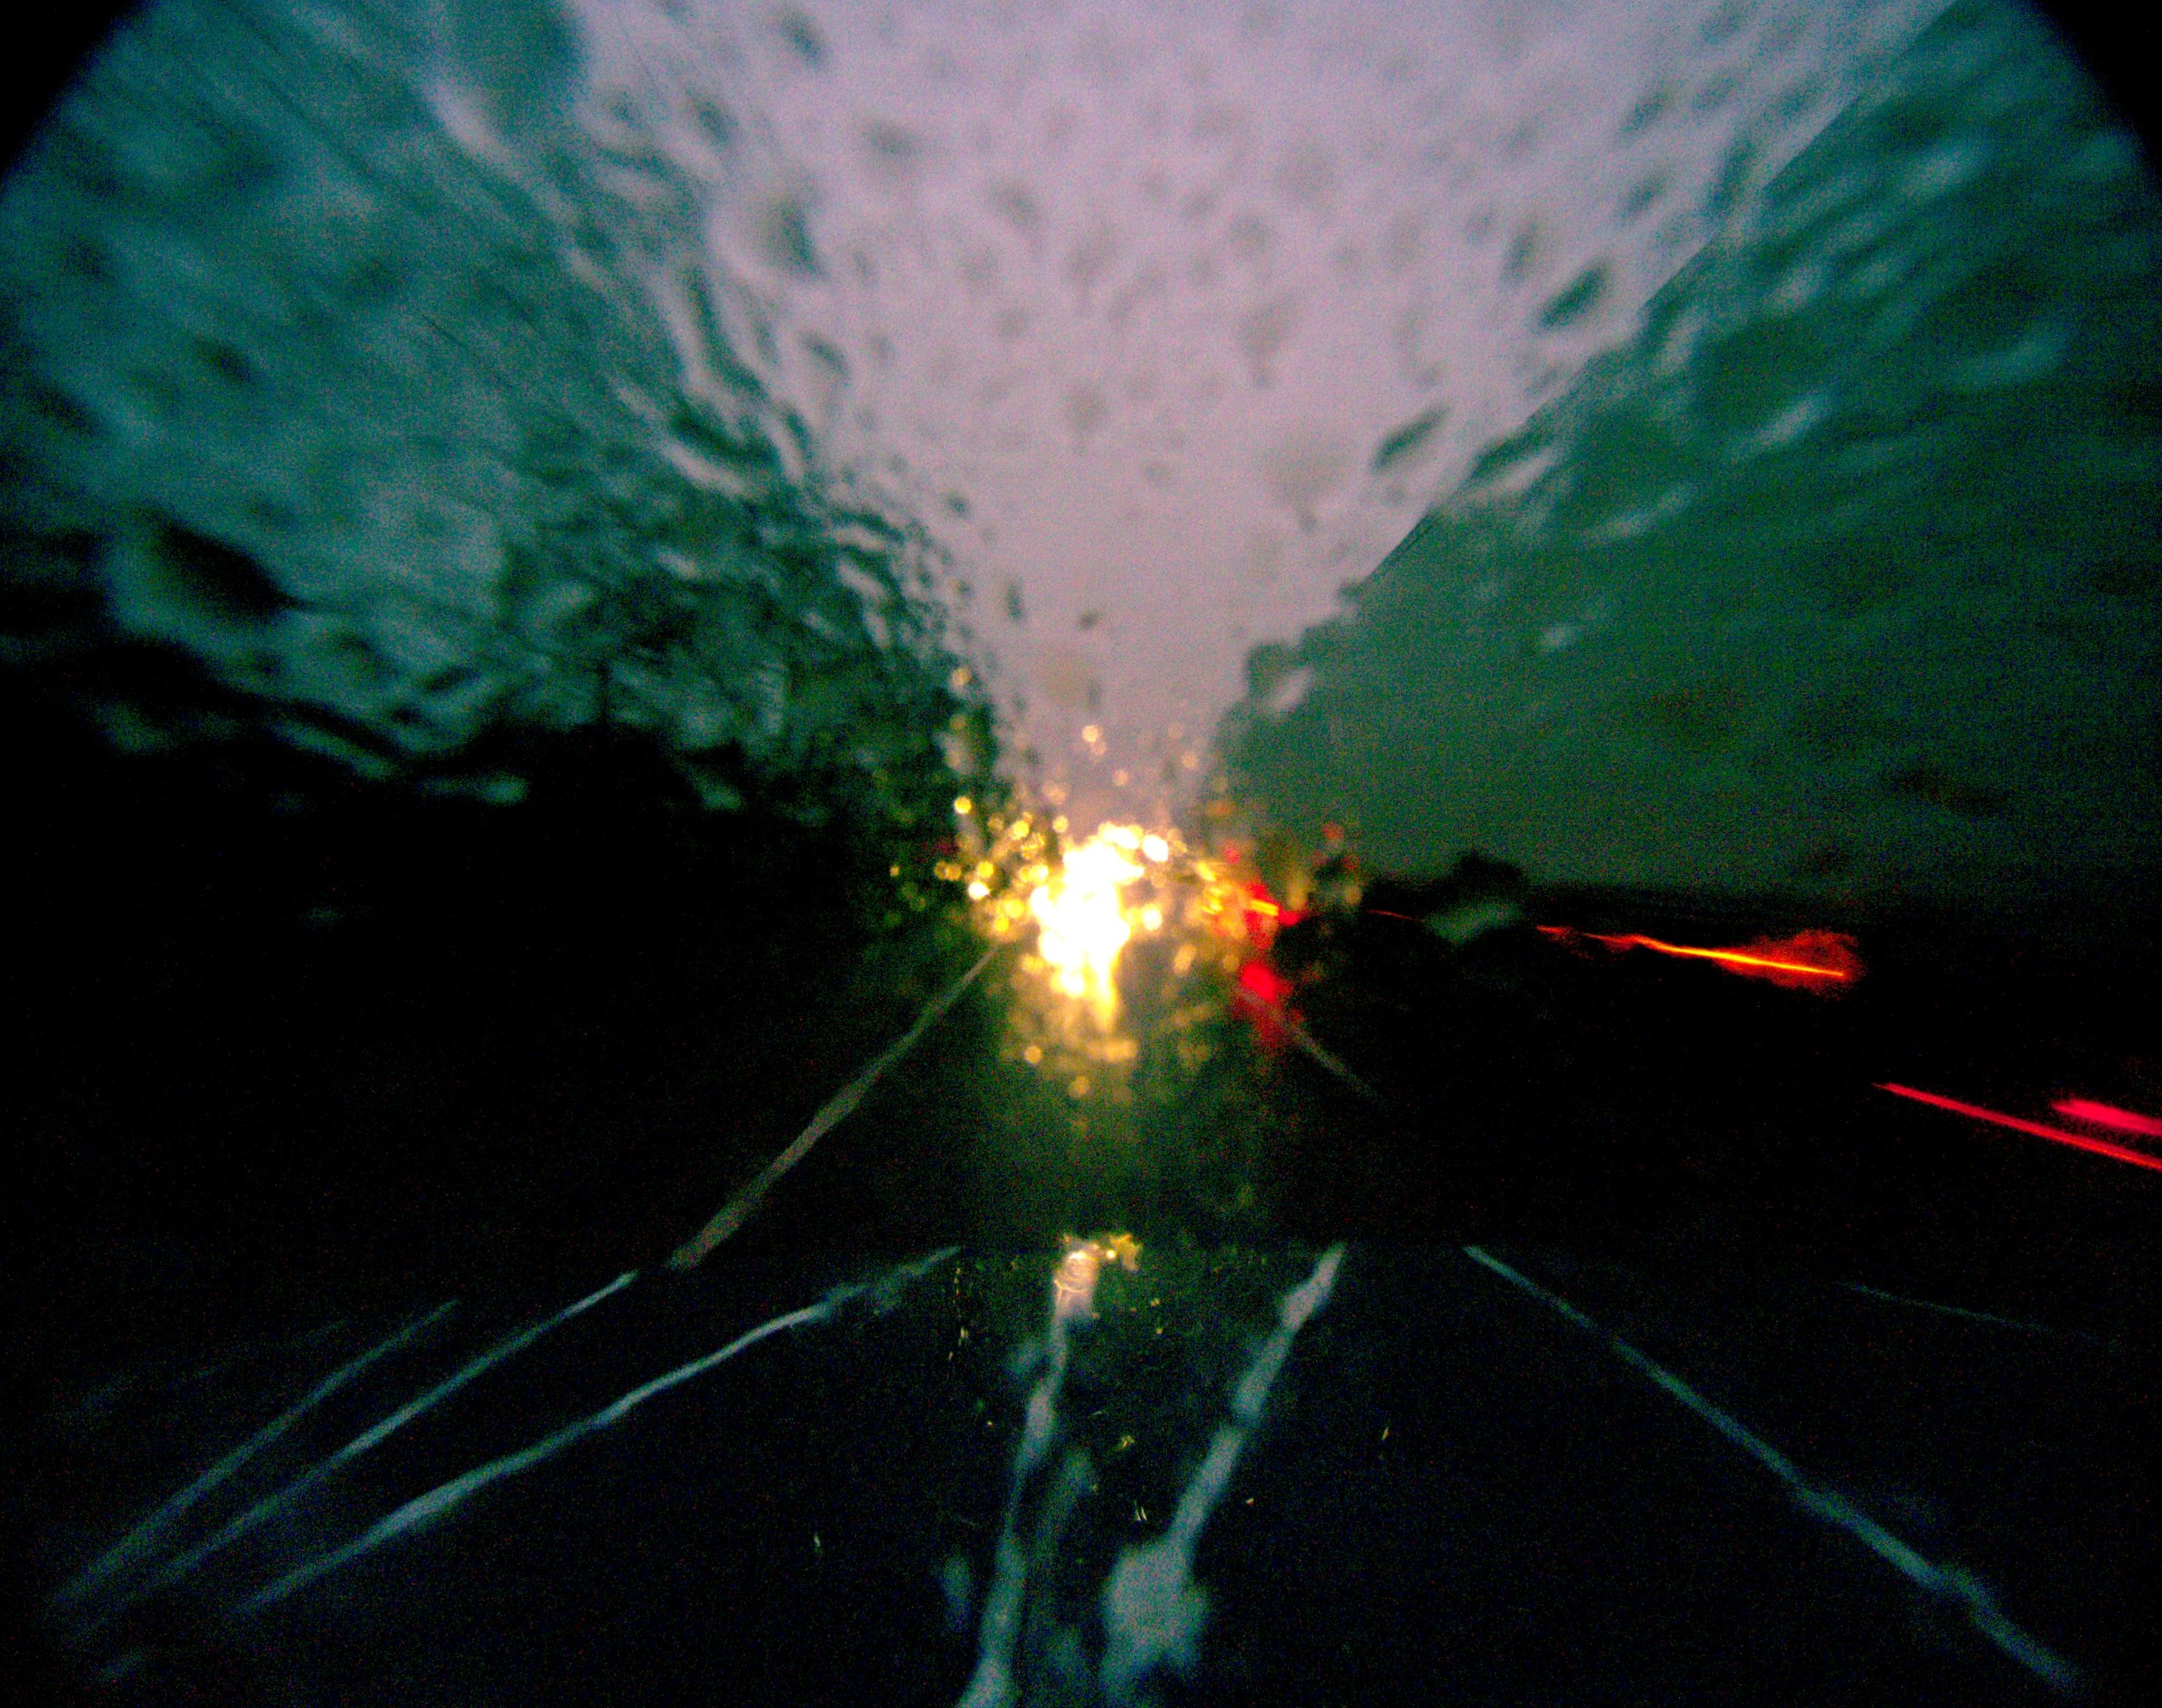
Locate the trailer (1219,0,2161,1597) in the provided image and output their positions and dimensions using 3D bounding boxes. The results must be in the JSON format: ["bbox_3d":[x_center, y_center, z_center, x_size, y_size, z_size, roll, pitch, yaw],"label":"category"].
[{"bbox_3d":[3.765,-0.392,7.245,2.708,4.056,12.381,0,0,0],"label":"trailer"}]

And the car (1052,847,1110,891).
[{"bbox_3d":[0.070,0.709,38.949,2.704,1.974,5.804,-2,0,1],"label":"car"}]

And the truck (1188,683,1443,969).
[{"bbox_3d":[3.814,-0.390,14.176,2.732,4.081,6.588,0,0,0],"label":"truck"}]
